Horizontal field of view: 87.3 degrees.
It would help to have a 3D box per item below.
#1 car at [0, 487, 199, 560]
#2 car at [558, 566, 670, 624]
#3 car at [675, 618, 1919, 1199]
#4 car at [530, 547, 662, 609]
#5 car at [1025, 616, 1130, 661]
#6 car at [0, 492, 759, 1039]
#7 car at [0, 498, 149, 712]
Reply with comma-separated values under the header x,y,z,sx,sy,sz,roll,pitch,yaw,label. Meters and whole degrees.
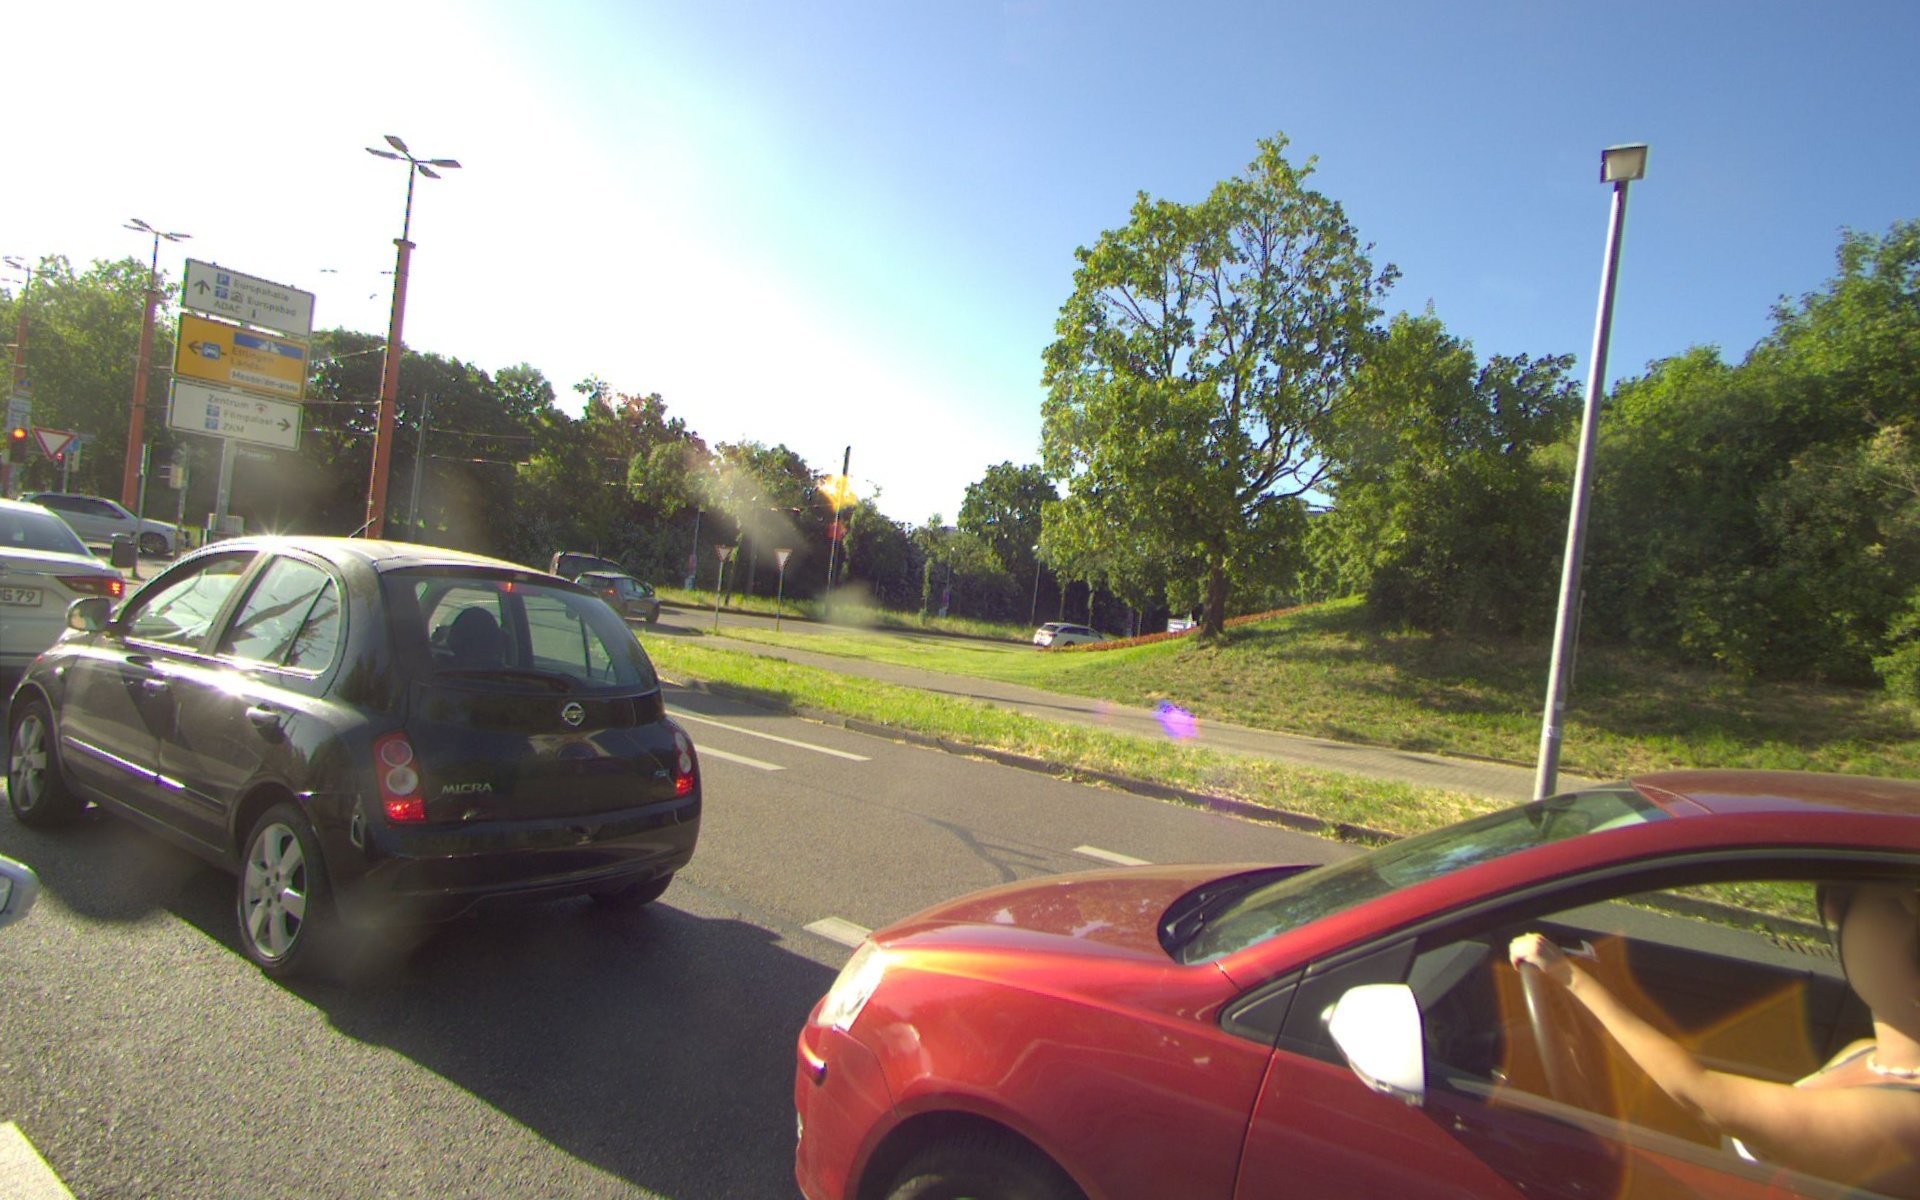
x,y,z,sx,sy,sz,roll,pitch,yaw,label
-28.565,-2.487,33.502,4.741,1.617,1.901,8,-1,-28,car
-10.757,-0.092,31.574,1.718,1.486,3.895,7,-1,6,car
1.373,0.993,1.894,3.634,1.434,1.624,7,-1,34,car
-14.957,-0.892,41.361,4.741,1.858,1.901,8,-1,-28,car
5.895,1.938,50.210,4.876,1.594,1.985,8,-1,-29,car
-2.819,0.467,4.625,3.457,1.524,1.558,7,0,32,car
-8.344,-0.161,7.979,4.077,1.472,1.717,7,-1,33,car
